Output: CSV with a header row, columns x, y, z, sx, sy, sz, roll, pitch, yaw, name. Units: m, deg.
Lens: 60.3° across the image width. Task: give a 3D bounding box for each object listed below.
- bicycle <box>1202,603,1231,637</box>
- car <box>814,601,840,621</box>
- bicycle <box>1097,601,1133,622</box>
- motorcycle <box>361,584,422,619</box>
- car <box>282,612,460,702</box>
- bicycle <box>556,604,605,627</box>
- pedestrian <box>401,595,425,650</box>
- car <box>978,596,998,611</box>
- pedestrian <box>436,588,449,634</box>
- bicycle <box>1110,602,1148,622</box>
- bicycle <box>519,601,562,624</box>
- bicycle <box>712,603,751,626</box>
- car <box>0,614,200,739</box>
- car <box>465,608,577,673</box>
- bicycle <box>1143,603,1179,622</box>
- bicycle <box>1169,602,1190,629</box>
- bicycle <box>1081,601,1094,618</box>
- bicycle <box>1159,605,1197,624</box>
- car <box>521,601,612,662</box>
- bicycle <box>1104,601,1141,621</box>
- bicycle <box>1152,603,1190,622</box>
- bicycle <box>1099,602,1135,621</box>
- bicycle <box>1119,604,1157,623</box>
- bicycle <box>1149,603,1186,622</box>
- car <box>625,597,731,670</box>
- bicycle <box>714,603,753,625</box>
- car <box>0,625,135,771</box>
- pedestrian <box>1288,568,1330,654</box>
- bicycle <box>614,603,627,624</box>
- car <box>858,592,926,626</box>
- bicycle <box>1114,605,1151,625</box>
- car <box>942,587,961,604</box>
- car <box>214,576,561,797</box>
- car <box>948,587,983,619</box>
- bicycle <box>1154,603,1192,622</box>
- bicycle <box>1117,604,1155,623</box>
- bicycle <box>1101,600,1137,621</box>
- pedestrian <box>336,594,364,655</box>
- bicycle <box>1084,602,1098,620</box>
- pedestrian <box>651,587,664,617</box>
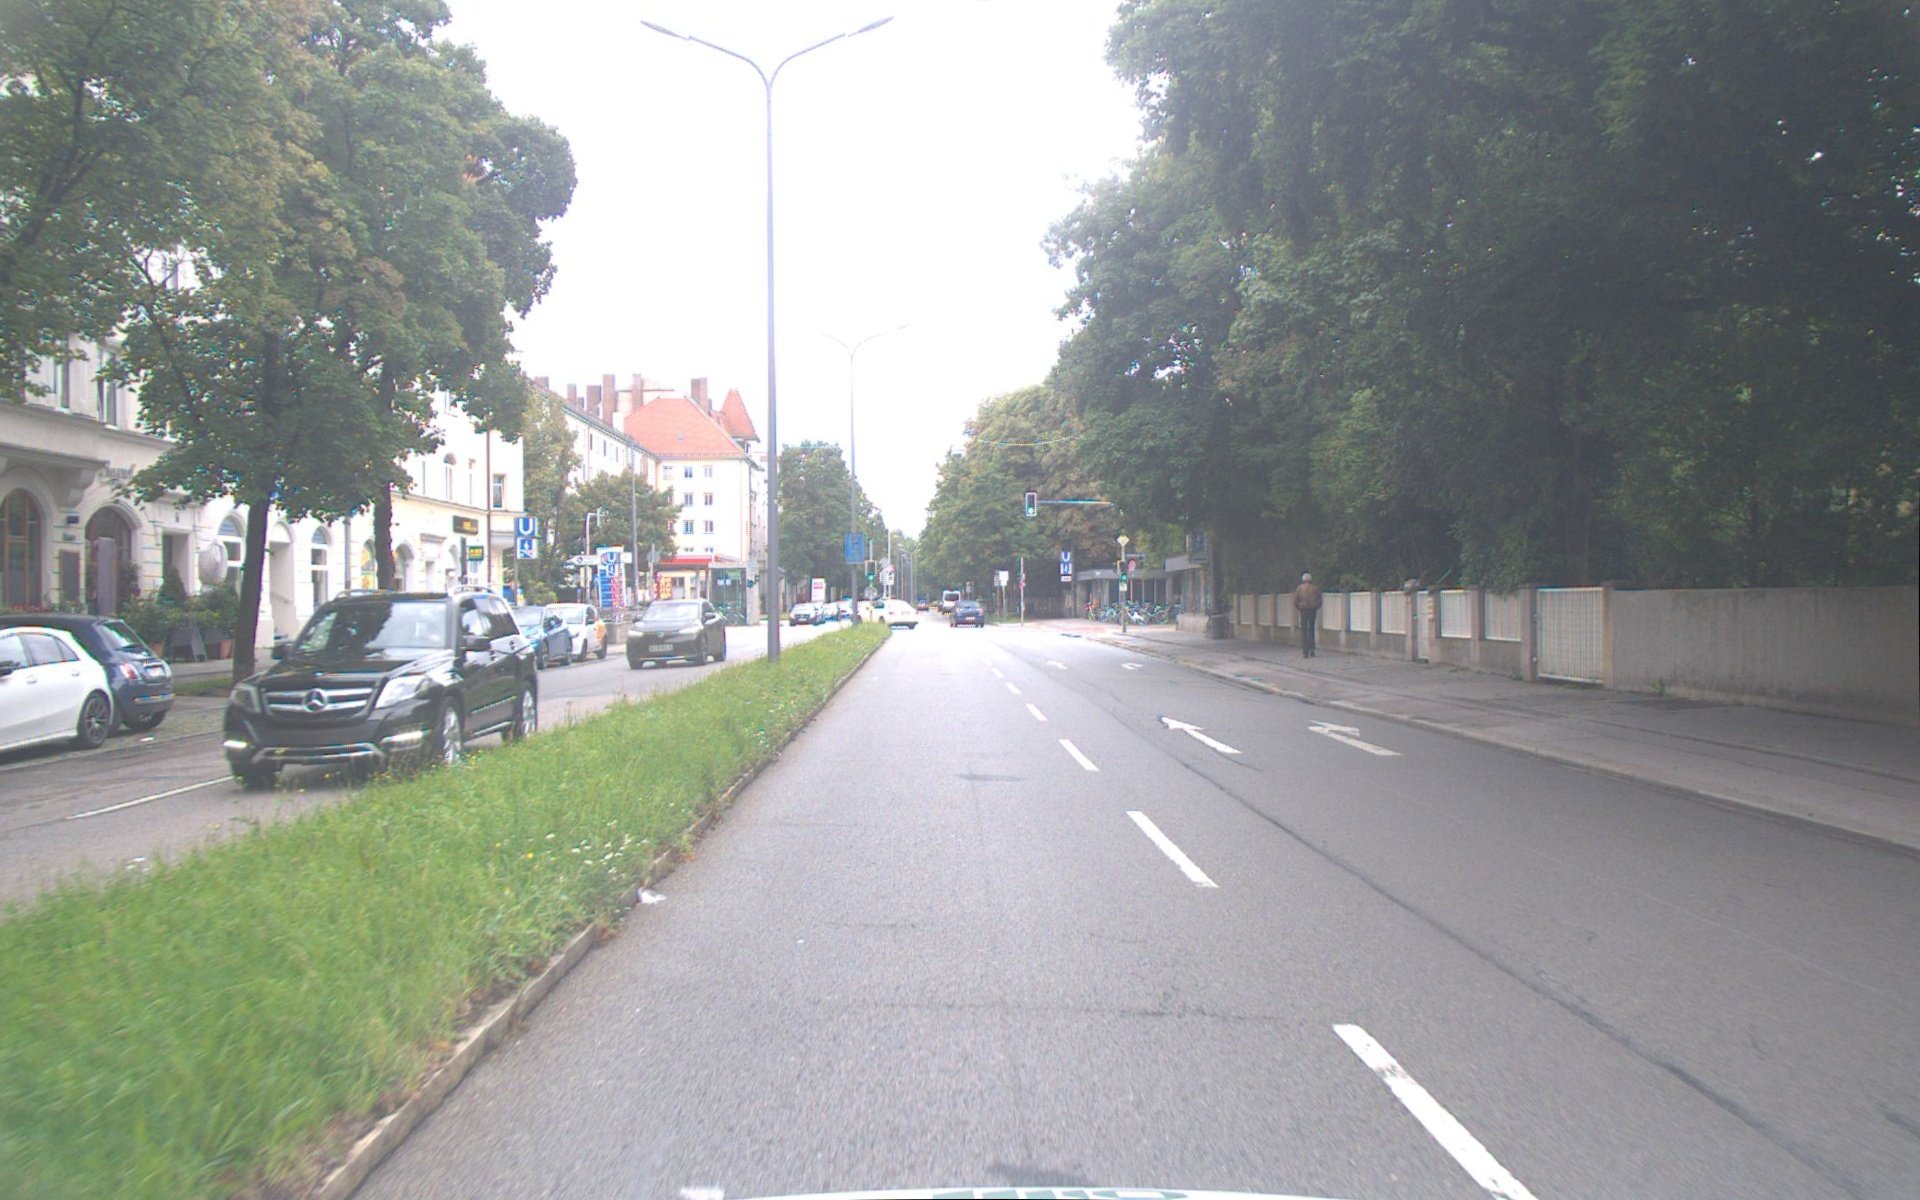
x,y,z,sx,sy,sz,roll,pitch,yaw,name
8.656,0.649,55.796,0.609,1.109,2.025,-1,0,-1,bicycle
-10.250,0.843,127.456,1.724,1.486,3.999,-1,0,-1,car
9.204,0.663,98.433,2.097,1.240,0.603,-1,0,7,bicycle
-19.307,0.056,56.191,0.598,1.150,1.978,-1,-1,38,motorcycle
-11.003,1.015,31.268,1.774,1.533,4.644,0,0,-1,car
-22.021,0.881,96.054,2.677,1.273,0.785,2,-1,-32,bicycle
-17.404,0.702,52.630,0.585,1.726,0.937,0,0,-29,pedestrian
2.632,0.343,154.375,1.708,1.387,3.805,-1,0,-1,car
-18.908,0.400,60.444,0.415,1.660,0.779,0,0,-16,pedestrian
9.590,0.672,93.957,2.097,1.120,0.603,-1,0,7,bicycle
-24.253,0.744,95.563,2.352,1.273,0.789,1,-1,-12,bicycle
-13.744,0.858,99.326,2.225,1.327,0.704,-1,0,0,bicycle
-11.990,0.953,21.063,3.811,1.489,1.731,-1,0,-3,car
-11.099,0.987,42.099,1.774,1.533,4.290,0,0,-1,car
11.755,0.731,96.782,2.097,1.032,0.634,-1,0,7,bicycle
9.413,0.672,70.958,0.587,1.141,1.889,-1,-1,-1,bicycle
7.990,0.566,103.655,0.545,1.032,2.014,0,0,-3,bicycle
12.255,0.810,92.836,2.097,1.032,0.634,-1,0,7,bicycle
-11.063,0.853,46.712,1.615,1.613,3.790,0,0,1,car
9.395,0.646,95.397,2.097,1.105,0.603,-1,0,7,bicycle
12.037,0.720,94.417,2.097,1.032,0.634,-1,0,7,bicycle
9.207,0.664,96.832,2.097,1.080,0.603,-1,0,7,bicycle
9.973,0.764,92.504,2.097,1.032,0.634,-1,0,7,bicycle
11.942,0.723,95.209,2.097,1.032,0.634,-1,0,7,bicycle
-6.922,0.788,41.072,1.837,1.612,4.619,-3,0,-1,car
-13.736,0.847,100.278,2.238,1.327,0.694,-1,0,0,bicycle
-10.556,1.022,17.312,1.691,1.427,4.403,-1,0,-1,car
8.158,0.260,38.691,0.762,1.976,0.802,-2,0,-1,pedestrian
-20.502,0.805,99.837,0.596,1.257,2.183,-1,0,-7,bicycle
-3.540,0.452,85.351,1.757,1.675,4.740,0,0,-26,car
9.740,0.837,93.304,2.097,1.089,0.603,-1,0,7,bicycle
-0.909,-0.478,179.044,1.953,1.787,3.999,-1,0,-2,car
-5.124,0.688,15.473,1.733,1.708,4.368,-2,0,-1,car
0.307,0.153,92.095,1.819,1.713,3.999,-1,0,-1,car
12.048,0.713,93.649,2.097,1.032,0.634,-1,0,7,bicycle
9.790,0.776,91.876,2.097,1.032,0.603,-1,0,7,bicycle
9.251,0.600,96.132,2.097,1.199,0.603,-1,0,7,bicycle
-17.362,0.694,47.097,0.532,1.726,0.770,0,0,-3,pedestrian
7.994,0.659,100.921,0.545,1.032,2.014,0,0,-3,bicycle
-17.143,0.115,93.779,0.522,1.725,0.577,0,0,7,pedestrian
